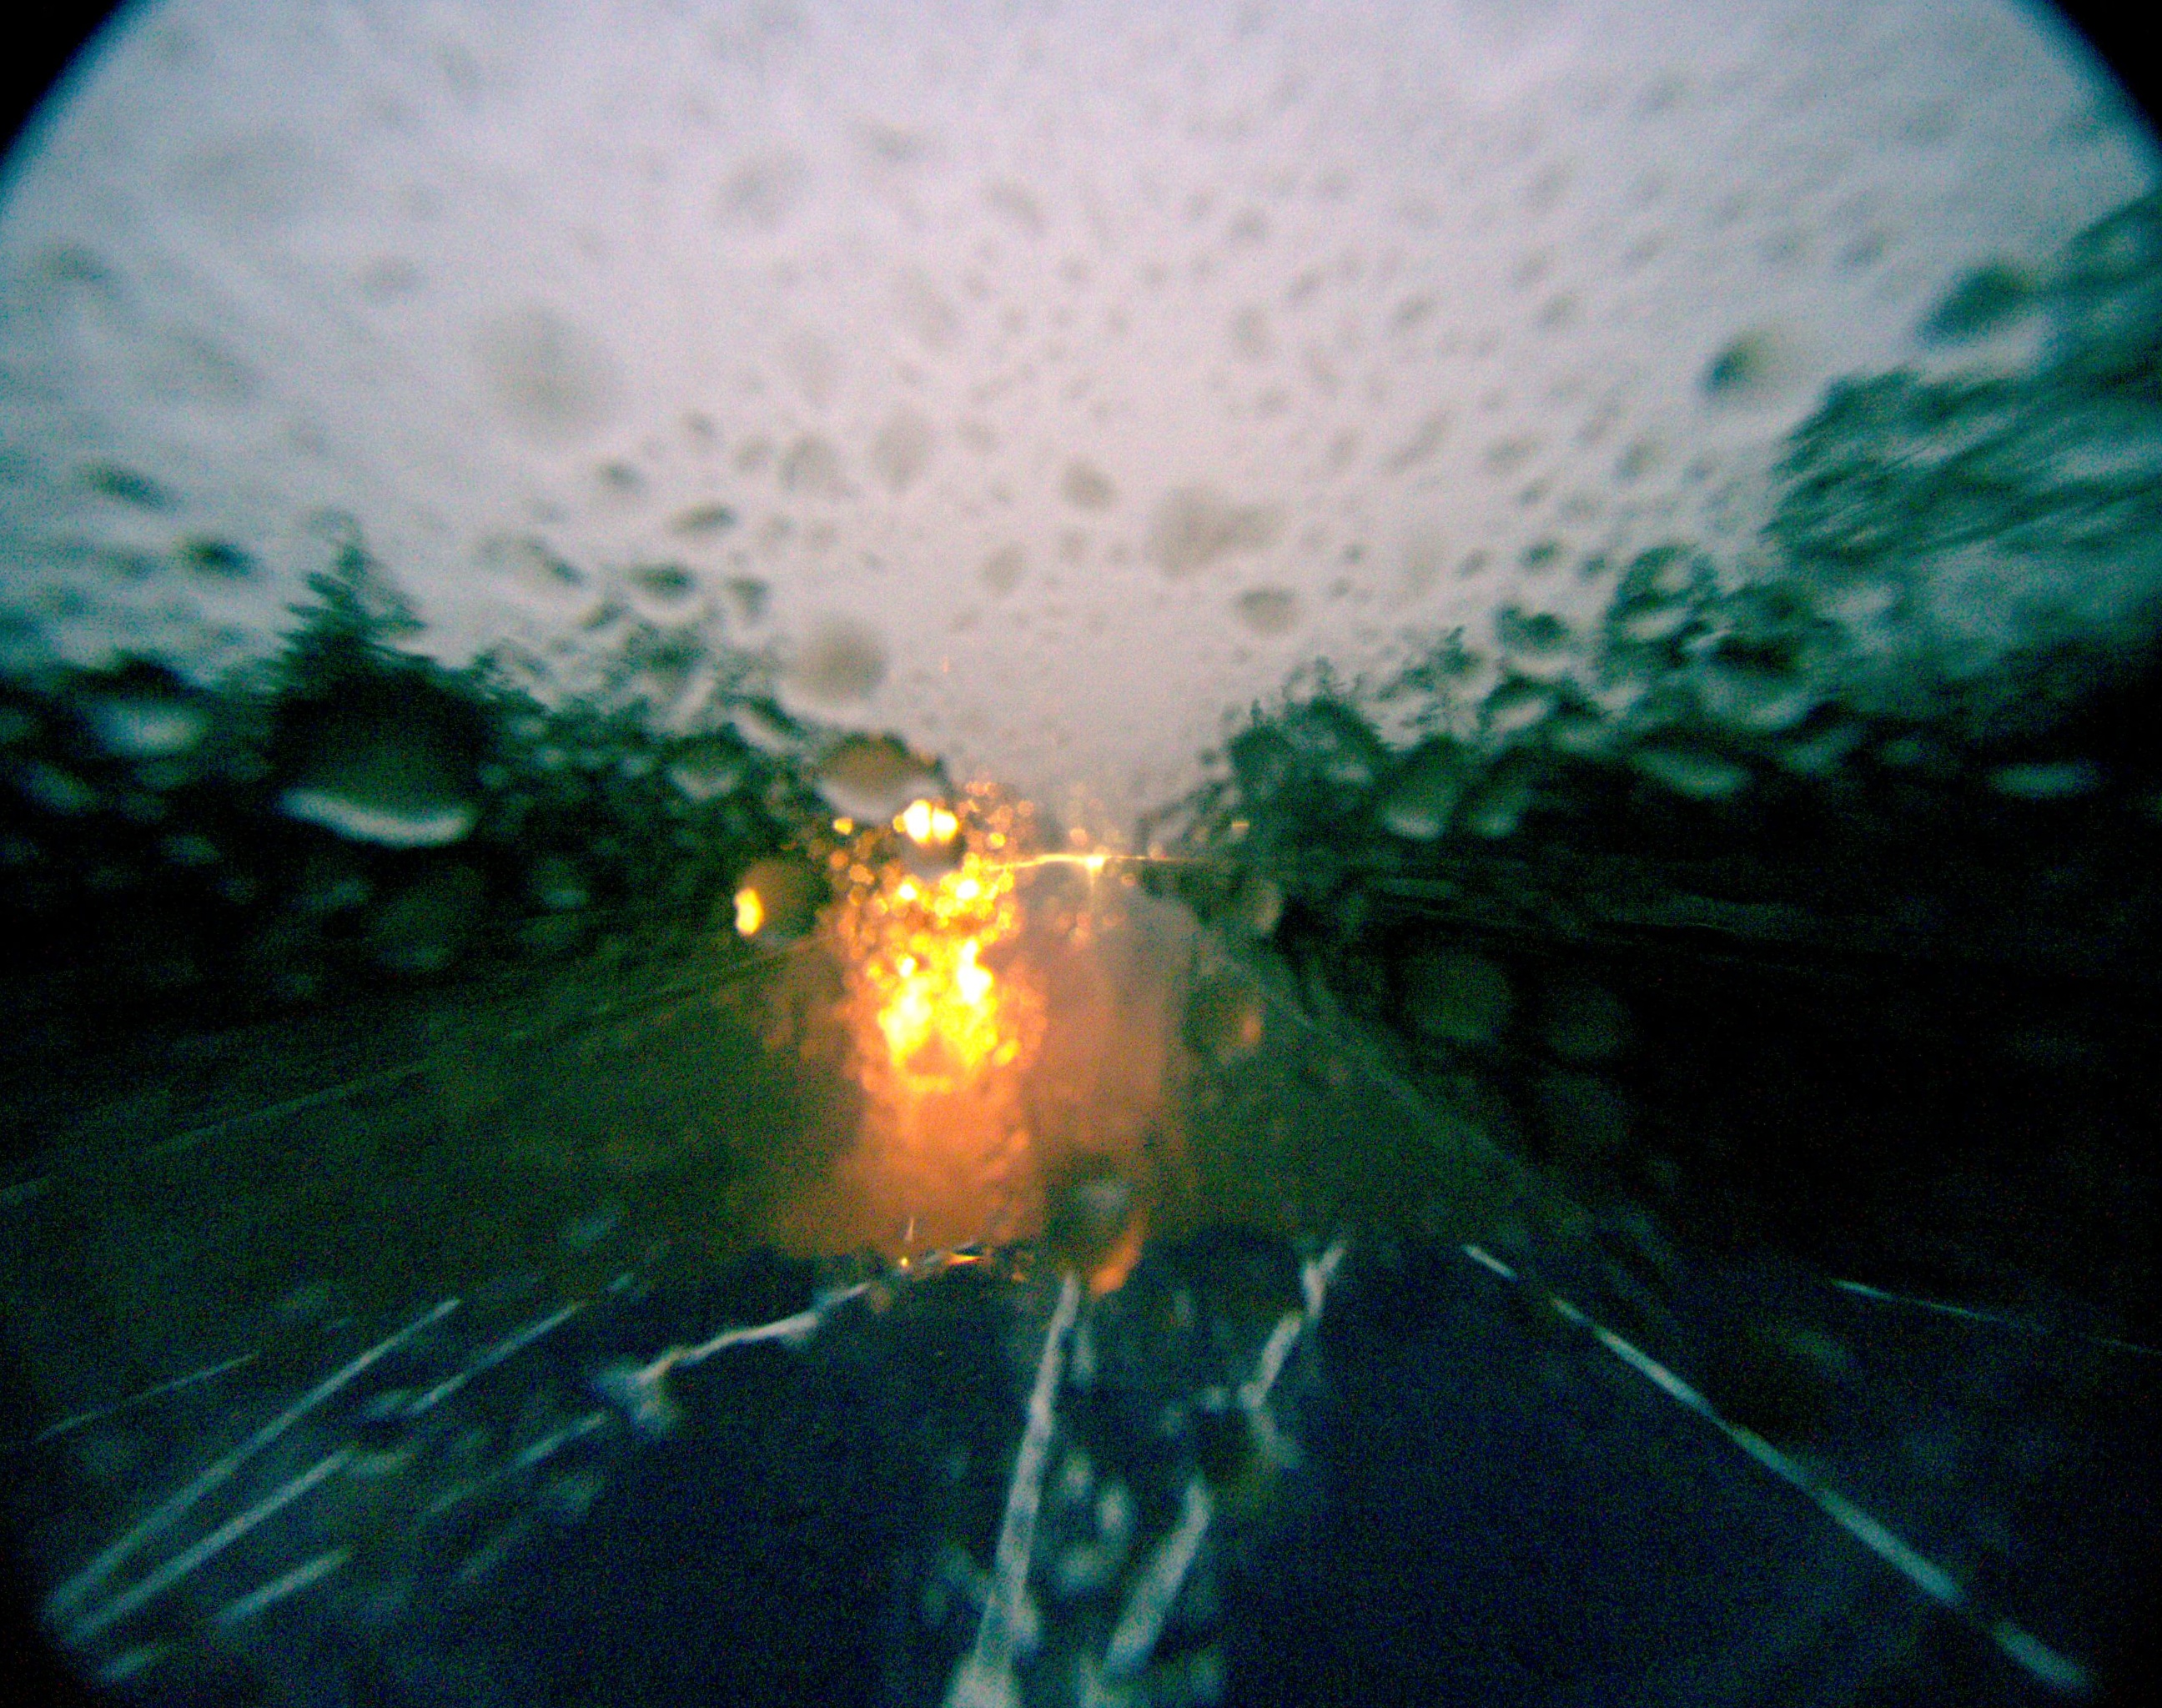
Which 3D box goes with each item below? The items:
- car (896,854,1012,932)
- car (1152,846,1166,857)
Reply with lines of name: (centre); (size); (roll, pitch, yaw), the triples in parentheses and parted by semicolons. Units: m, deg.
car: (-3.043, 0.877, 19.239); (2.075, 1.688, 4.461); (-2, 0, 1)
car: (14.556, -0.453, 141.705); (1.999, 2.002, 4.784); (-2, 0, -1)
